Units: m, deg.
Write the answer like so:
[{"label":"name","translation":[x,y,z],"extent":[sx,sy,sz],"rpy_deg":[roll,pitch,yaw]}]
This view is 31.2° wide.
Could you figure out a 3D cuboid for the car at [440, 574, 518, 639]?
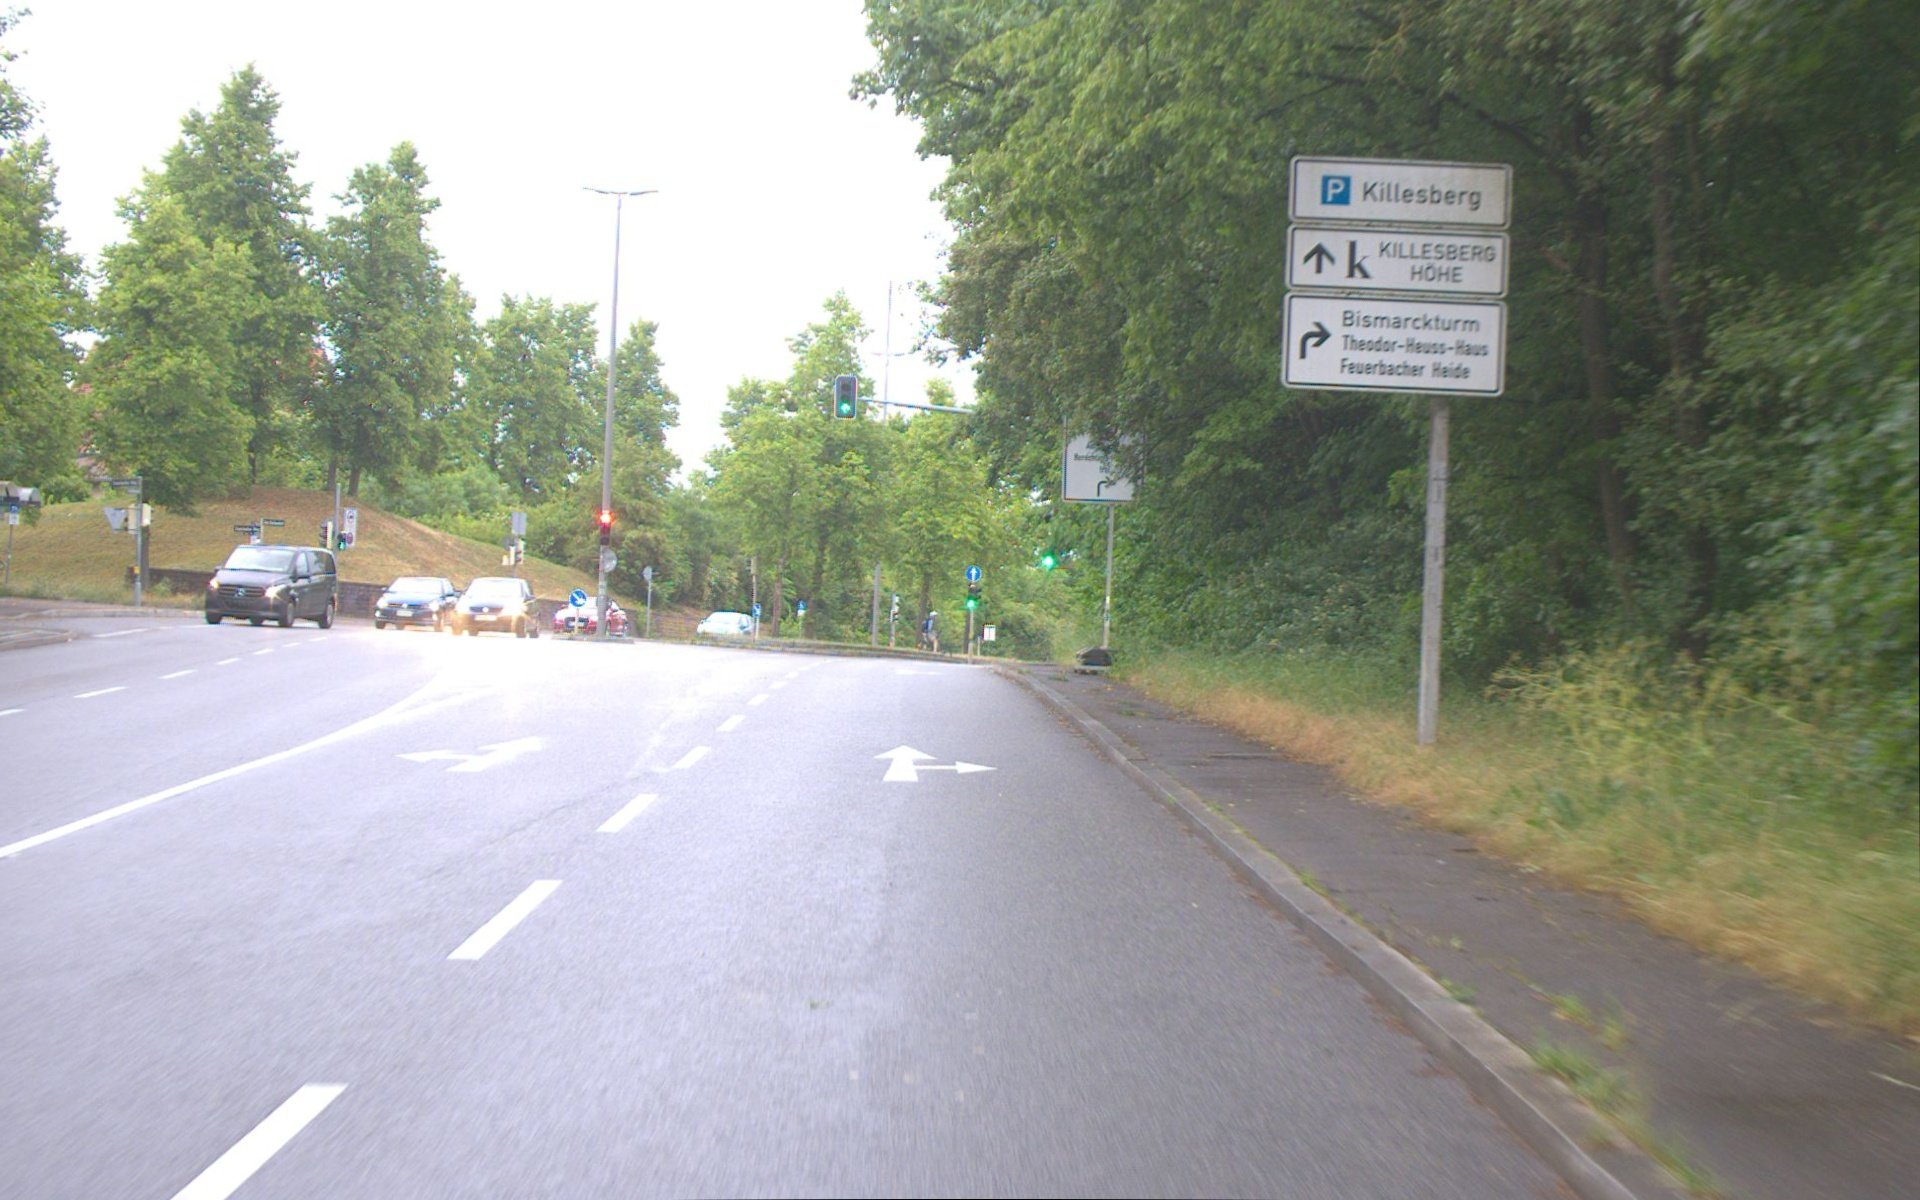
[{"label":"car","translation":[-11.604,0.136,83.173],"extent":[1.700,1.422,4.079],"rpy_deg":[3,0,-6]}]

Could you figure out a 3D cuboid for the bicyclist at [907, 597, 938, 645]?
[{"label":"bicyclist","translation":[-1.389,0.792,128.571],"extent":[0.799,1.746,0.725],"rpy_deg":[6,-6,-43]}]

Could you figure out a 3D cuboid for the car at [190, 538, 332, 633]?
[{"label":"car","translation":[-16.038,-0.344,79.112],"extent":[2.102,1.939,5.160],"rpy_deg":[5,0,0]}]

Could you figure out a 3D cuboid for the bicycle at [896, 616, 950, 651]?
[{"label":"bicycle","translation":[-1.394,1.259,128.526],"extent":[2.134,1.139,0.554],"rpy_deg":[5,-2,-43]}]

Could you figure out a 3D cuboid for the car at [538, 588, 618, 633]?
[{"label":"car","translation":[-12.663,0.339,114.276],"extent":[1.875,1.369,4.384],"rpy_deg":[2,0,4]}]

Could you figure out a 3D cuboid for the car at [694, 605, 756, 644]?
[{"label":"car","translation":[-9.175,0.963,134.418],"extent":[1.994,1.485,3.936],"rpy_deg":[1,0,3]}]

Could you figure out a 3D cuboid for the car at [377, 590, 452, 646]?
[{"label":"car","translation":[-14.247,0.454,89.920],"extent":[1.631,1.389,4.001],"rpy_deg":[2,0,-5]}]
